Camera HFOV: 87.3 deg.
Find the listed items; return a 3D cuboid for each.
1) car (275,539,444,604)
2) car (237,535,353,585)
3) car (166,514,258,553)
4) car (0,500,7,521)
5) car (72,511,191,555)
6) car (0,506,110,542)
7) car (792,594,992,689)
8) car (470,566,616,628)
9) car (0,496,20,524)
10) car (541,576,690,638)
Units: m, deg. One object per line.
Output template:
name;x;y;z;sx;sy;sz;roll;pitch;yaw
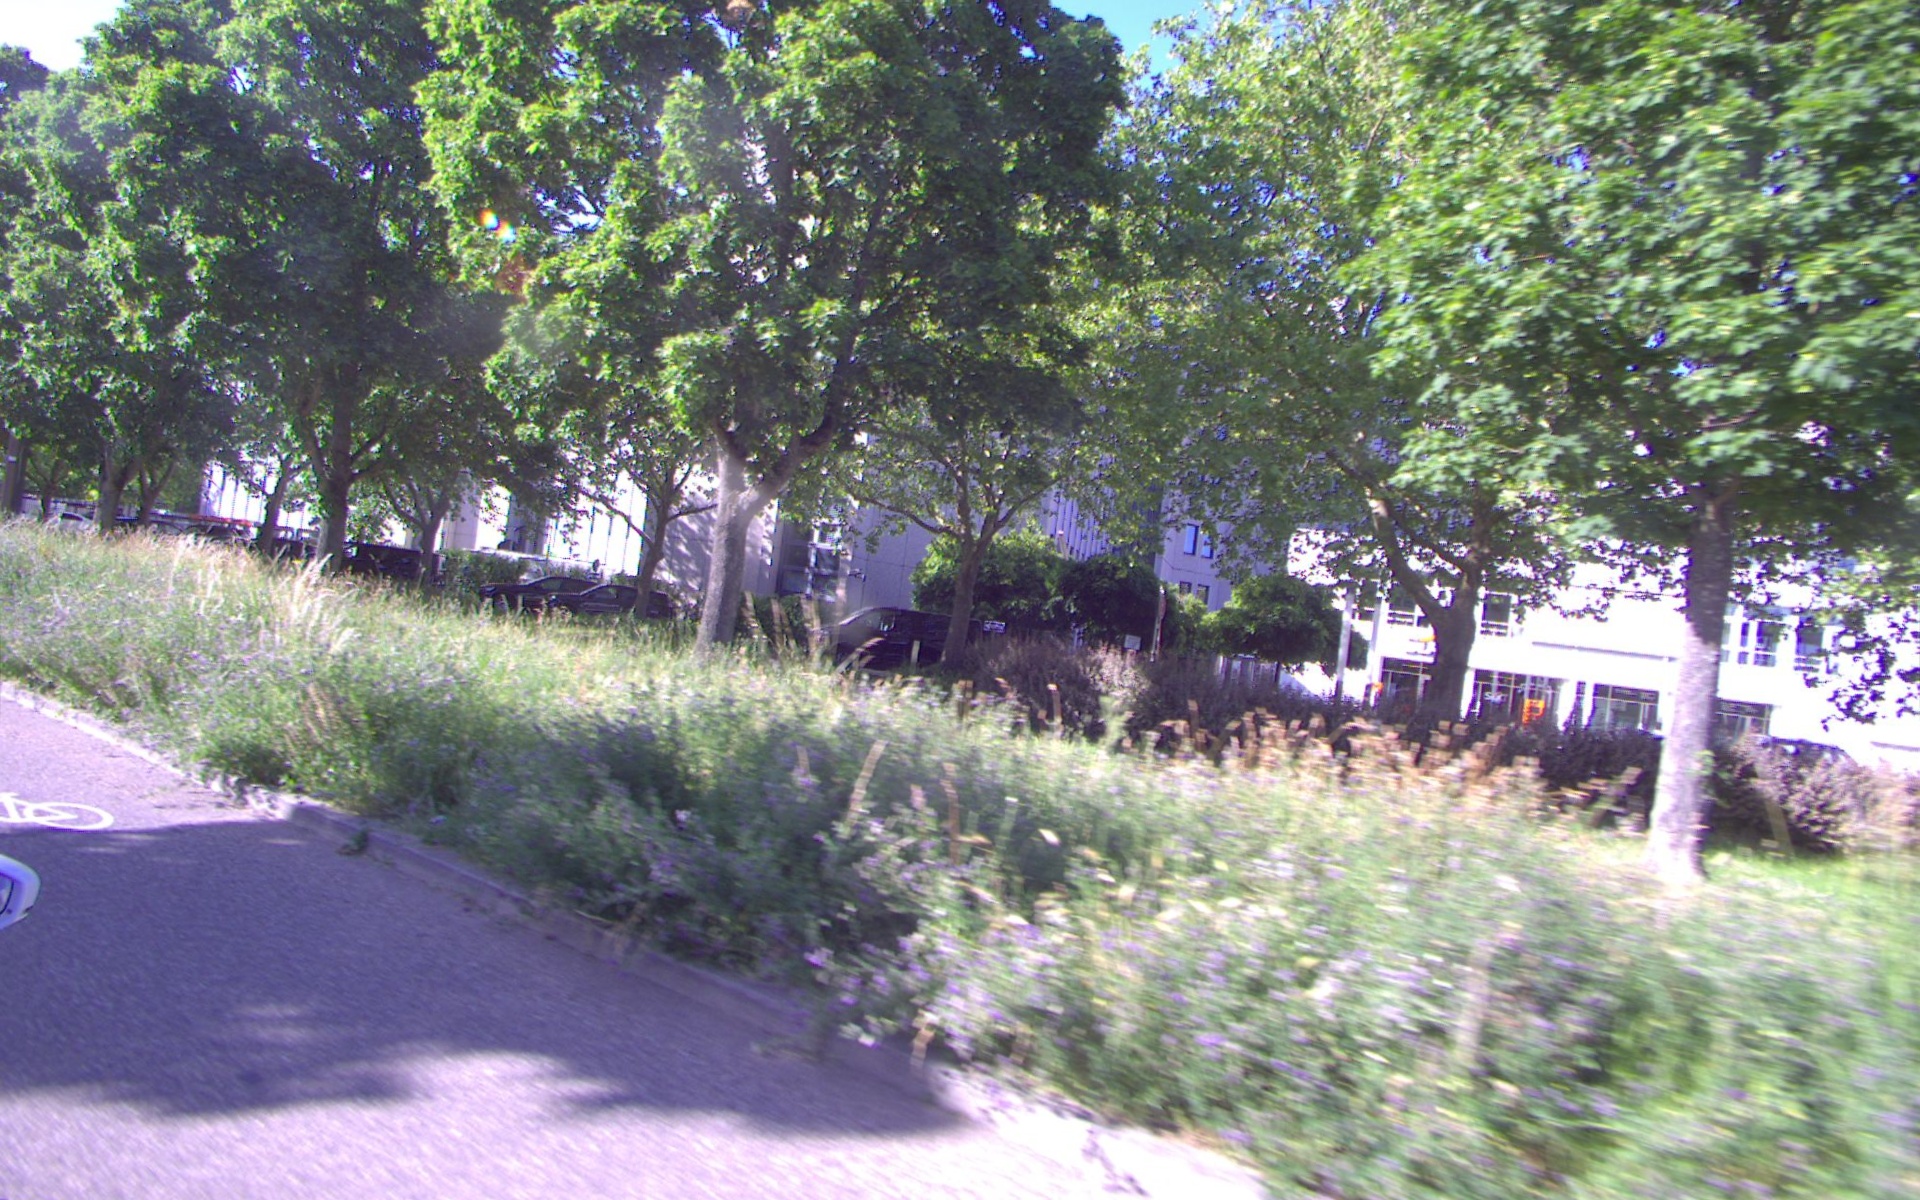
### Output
car;-24.075;-1.093;40.542;5.369;1.772;1.915;8;-2;-13
car;-29.845;-1.760;45.257;3.936;1.657;1.715;8;-2;-23
car;-53.318;-4.730;71.813;1.940;1.973;4.759;7;-1;29
car;-65.375;-6.180;65.612;1.909;1.340;4.296;8;-1;34
car;-41.990;-3.371;51.101;1.733;1.554;4.245;7;-1;20
car;-51.737;-4.315;57.270;1.776;1.286;4.709;8;-1;27
car;-1.936;1.151;28.000;5.106;1.898;2.075;8;-2;-14
car;-14.667;-0.090;35.505;4.493;1.533;1.838;8;-2;-25
car;-61.562;-5.928;62.329;1.851;1.615;4.404;7;-2;26
car;-11.648;0.252;34.011;4.493;1.465;1.838;8;-2;-25
